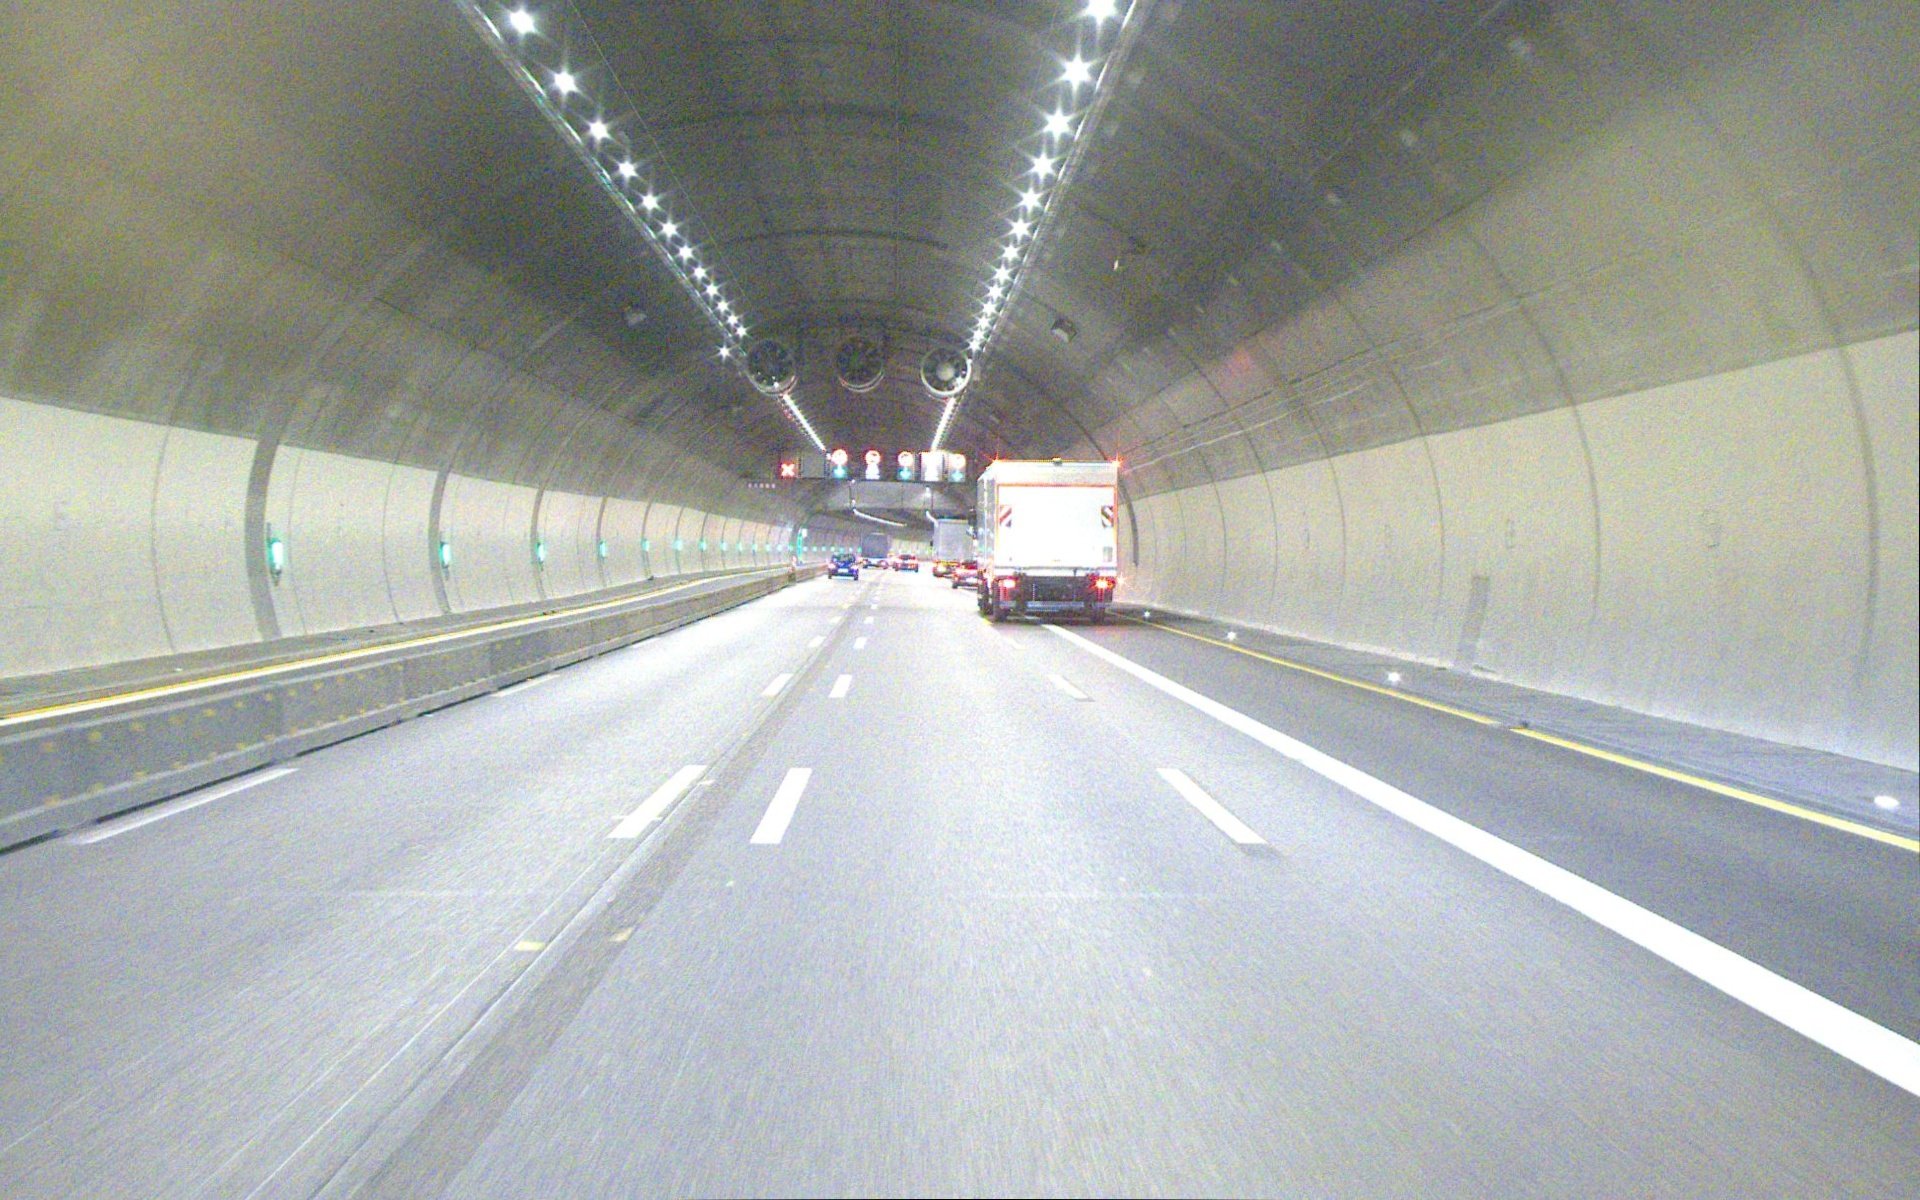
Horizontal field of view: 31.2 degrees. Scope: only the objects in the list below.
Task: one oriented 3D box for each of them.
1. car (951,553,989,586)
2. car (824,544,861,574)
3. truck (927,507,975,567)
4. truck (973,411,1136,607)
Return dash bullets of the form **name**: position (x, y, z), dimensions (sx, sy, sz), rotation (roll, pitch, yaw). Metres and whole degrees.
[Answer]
- **car**: position (0.507, -1.447, 164.108), dimensions (1.739, 1.456, 3.960), rotation (1, 1, 1)
- **car**: position (-6.105, -2.124, 179.205), dimensions (1.758, 1.456, 4.119), rotation (1, 1, 0)
- **truck**: position (-0.565, -4.322, 238.747), dimensions (3.066, 3.904, 10.367), rotation (2, 0, 1)
- **truck**: position (1.947, -1.877, 75.374), dimensions (3.092, 3.904, 10.368), rotation (2, 0, -1)
